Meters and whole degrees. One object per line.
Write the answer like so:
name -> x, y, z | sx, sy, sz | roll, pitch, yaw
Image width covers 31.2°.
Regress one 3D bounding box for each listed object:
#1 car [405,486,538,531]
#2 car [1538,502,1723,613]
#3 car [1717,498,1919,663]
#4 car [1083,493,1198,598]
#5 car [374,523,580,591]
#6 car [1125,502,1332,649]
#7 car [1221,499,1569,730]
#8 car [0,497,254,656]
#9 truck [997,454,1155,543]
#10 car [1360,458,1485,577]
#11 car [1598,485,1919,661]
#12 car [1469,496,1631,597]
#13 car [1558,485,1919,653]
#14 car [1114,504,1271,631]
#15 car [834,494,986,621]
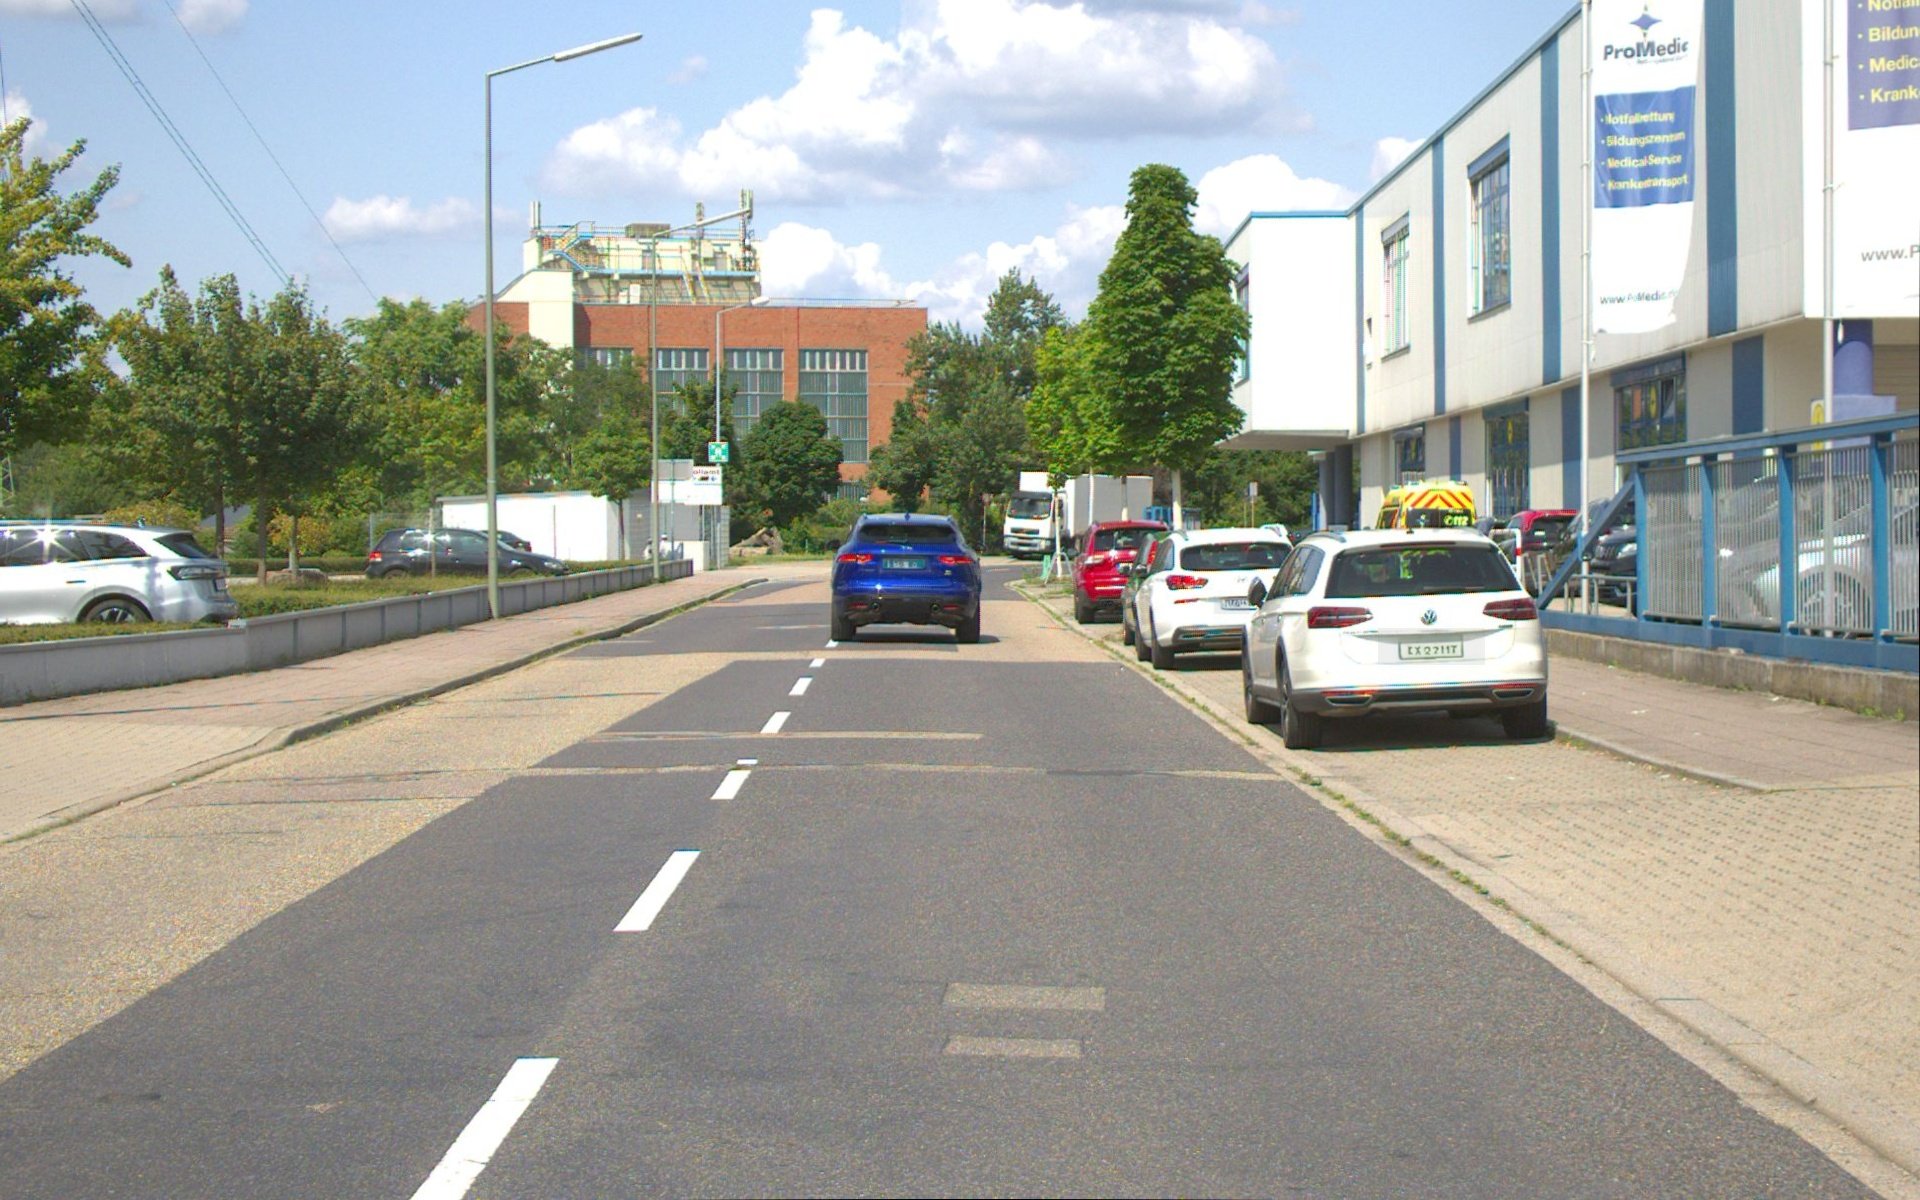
car -> -15.440, -2.883, 108.642 | 3.995, 1.373, 1.800 | 1, 2, 34
car -> 9.957, -0.601, 51.362 | 1.827, 1.507, 4.641 | 0, -1, 0
car -> 9.166, -0.213, 30.883 | 4.279, 1.415, 2.000 | -1, 2, 0
car -> 2.939, -0.903, 56.628 | 1.755, 1.645, 4.677 | 0, 1, 1
car -> -9.911, -0.894, 70.788 | 3.987, 1.371, 1.804 | 0, 1, 0
car -> 2.882, -0.294, 37.775 | 1.835, 1.515, 4.462 | 0, 1, -1
car -> 3.057, 0.053, 25.100 | 1.867, 1.515, 4.598 | 0, 1, -1
car -> -10.146, -0.230, 36.894 | 4.754, 1.597, 2.000 | -2, 1, -4
truck -> 4.896, -4.264, 142.867 | 2.325, 3.555, 9.352 | 2, 3, 30
car -> 9.901, -1.754, 74.011 | 1.924, 2.455, 5.260 | 1, 1, 0
car -> 8.505, -0.282, 33.269 | 4.225, 1.641, 2.148 | 0, 1, -2
car -> 9.963, -0.876, 58.331 | 1.993, 1.651, 4.290 | 0, 0, 0
car -> 8.433, -0.338, 35.592 | 4.083, 1.680, 2.000 | 0, 1, -2
car -> 2.889, -0.429, 43.372 | 1.668, 1.515, 3.995 | 0, 1, -1
car -> -0.671, -0.576, 45.707 | 1.909, 1.588, 4.702 | 0, 1, -1
